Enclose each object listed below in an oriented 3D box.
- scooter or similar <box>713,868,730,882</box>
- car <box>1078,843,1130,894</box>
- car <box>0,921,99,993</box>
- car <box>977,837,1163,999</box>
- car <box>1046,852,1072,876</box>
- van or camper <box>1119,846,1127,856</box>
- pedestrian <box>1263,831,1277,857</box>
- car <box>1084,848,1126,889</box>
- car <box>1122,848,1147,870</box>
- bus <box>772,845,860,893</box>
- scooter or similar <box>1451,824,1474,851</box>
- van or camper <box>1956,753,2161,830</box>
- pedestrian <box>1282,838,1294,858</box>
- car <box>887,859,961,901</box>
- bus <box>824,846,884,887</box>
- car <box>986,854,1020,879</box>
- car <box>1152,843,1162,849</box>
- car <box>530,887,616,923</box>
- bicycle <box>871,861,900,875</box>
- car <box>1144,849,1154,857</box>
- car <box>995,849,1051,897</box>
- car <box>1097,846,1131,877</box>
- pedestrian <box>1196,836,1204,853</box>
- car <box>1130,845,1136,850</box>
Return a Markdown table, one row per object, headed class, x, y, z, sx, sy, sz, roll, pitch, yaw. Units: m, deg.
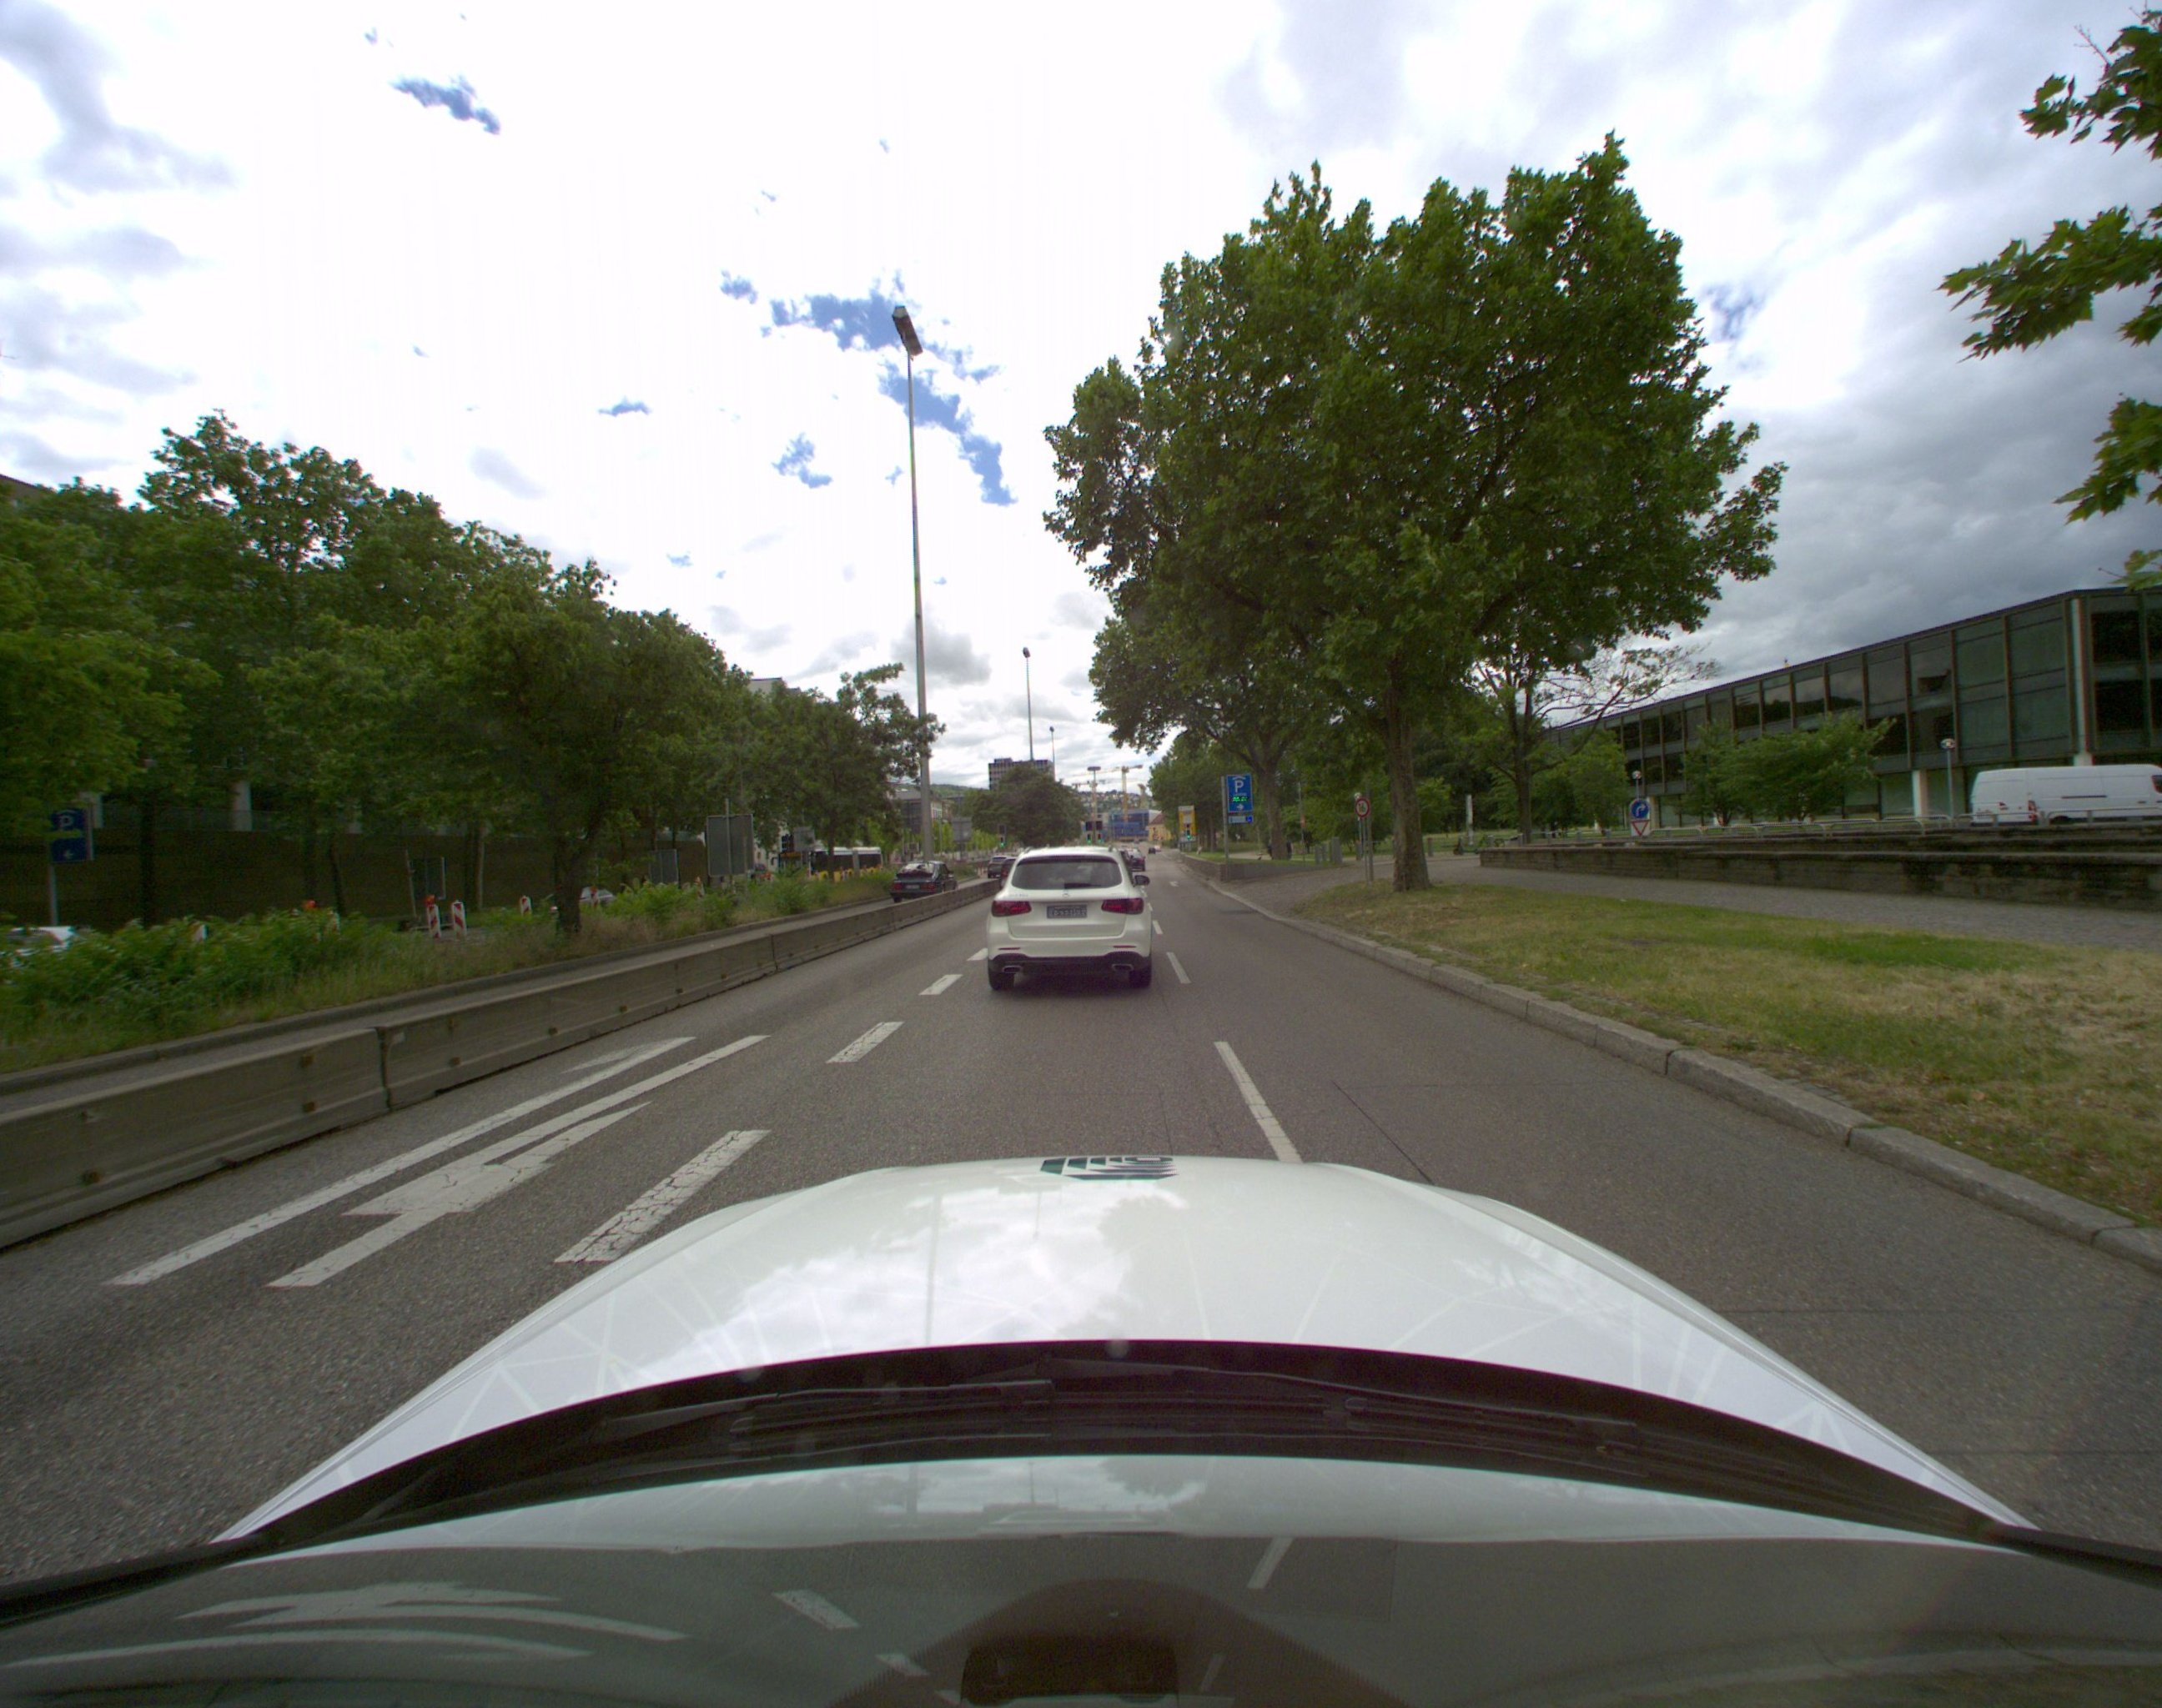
| class | x | y | z | sx | sy | sz | roll | pitch | yaw |
| --- | --- | --- | --- | --- | --- | --- | --- | --- | --- |
| scooter or similar | -36.436 | 2.133 | 82.506 | 1.409 | 1.340 | 0.538 | -3 | 0 | 2 |
| car | 0.806 | 0.480 | 27.946 | 1.648 | 1.610 | 4.001 | 0 | -1 | 2 |
| car | -21.802 | 2.076 | 15.615 | 1.347 | 1.288 | 3.739 | 0 | 0 | 2 |
| car | -0.070 | 0.686 | 10.524 | 1.934 | 1.684 | 4.001 | 0 | -1 | 1 |
| car | -1.520 | 0.668 | 56.876 | 1.713 | 1.584 | 3.999 | 0 | 0 | 0 |
| van or camper | 10.499 | -0.649 | 203.711 | 1.915 | 2.320 | 4.002 | -2 | -1 | 2 |
| pedestrian | 14.316 | -0.753 | 61.826 | 0.853 | 2.014 | 0.815 | 0 | -1 | 1 |
| car | 1.069 | 0.557 | 34.850 | 1.665 | 1.627 | 4.004 | 0 | 1 | 3 |
| car | 3.967 | 0.367 | 60.879 | 1.713 | 1.584 | 4.001 | 0 | 0 | 1 |
| bus | -20.139 | 1.055 | 62.712 | 2.901 | 3.305 | 10.454 | -3 | 0 | 2 |
| scooter or similar | 18.025 | -0.767 | 38.487 | 0.713 | 1.247 | 0.729 | 0 | -1 | 1 |
| van or camper | 34.594 | -2.125 | 28.281 | 5.674 | 2.320 | 2.322 | -2 | -2 | 2 |
| pedestrian | 16.075 | -0.460 | 63.119 | 0.783 | 1.527 | 0.684 | 0 | -1 | 3 |
| car | -5.405 | 0.859 | 28.466 | 1.713 | 1.292 | 4.001 | 0 | 0 | 1 |
| bus | -19.870 | 1.033 | 71.799 | 2.912 | 3.303 | 7.708 | -3 | 0 | 1 |
| car | -5.097 | 0.768 | 53.588 | 1.746 | 1.553 | 4.002 | 0 | 0 | 2 |
| car | 19.194 | -2.054 | 206.416 | 1.988 | 1.618 | 3.997 | 0 | -1 | -2 |
| car | -21.081 | 2.095 | 33.925 | 1.347 | 1.288 | 3.399 | 0 | -1 | 2 |
| bicycle | -27.399 | 2.000 | 114.195 | 3.600 | 1.684 | 1.183 | -3 | 0 | 1 |
| car | 14.416 | -0.260 | 173.063 | 1.713 | 1.584 | 4.001 | 0 | 0 | 1 |
| car | -2.137 | 0.667 | 30.902 | 1.713 | 1.678 | 4.001 | 0 | 0 | 1 |
| car | 1.748 | 0.394 | 44.089 | 1.713 | 1.584 | 4.001 | 0 | 0 | 1 |
| pedestrian | 11.542 | -0.910 | 79.035 | 0.695 | 1.656 | 0.684 | 0 | -1 | 2 |
| car | 15.610 | -1.990 | 243.077 | 1.713 | 1.584 | 4.001 | 0 | 0 | 1 |
